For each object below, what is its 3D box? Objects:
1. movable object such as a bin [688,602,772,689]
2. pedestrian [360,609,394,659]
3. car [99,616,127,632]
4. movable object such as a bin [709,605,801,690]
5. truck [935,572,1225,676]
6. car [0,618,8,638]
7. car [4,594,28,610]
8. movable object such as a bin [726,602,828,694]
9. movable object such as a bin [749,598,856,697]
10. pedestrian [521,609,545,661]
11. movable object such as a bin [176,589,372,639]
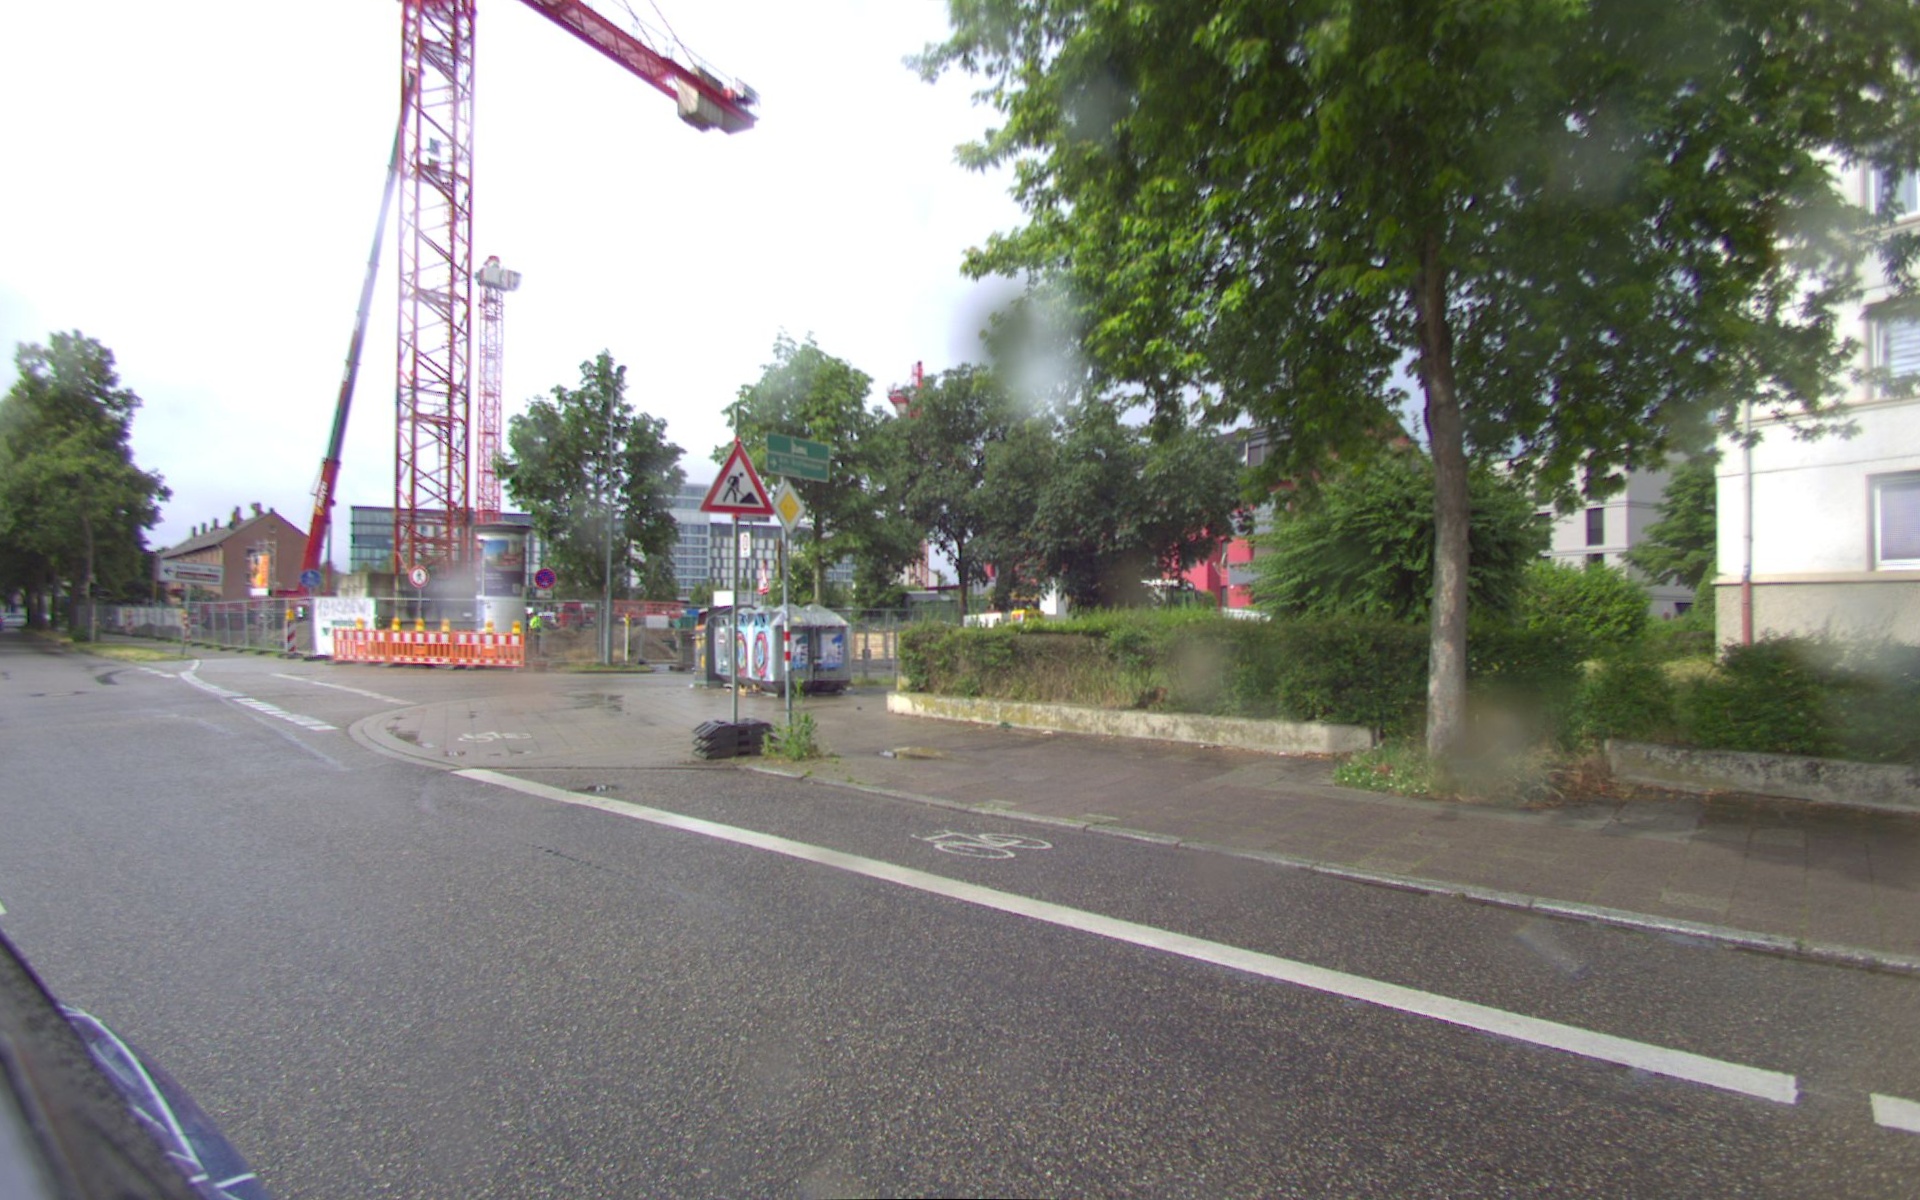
[{"bbox_3d":[-5.071,1.000,22.259,1.516,1.838,1.267,1,-3,-26],"label":"movable object such as a bin"},{"bbox_3d":[-19.459,1.139,33.807,0.676,1.642,0.722,0,0,7],"label":"pedestrian"},{"bbox_3d":[-88.399,2.473,105.626,4.000,1.541,1.671,0,1,43],"label":"car"},{"bbox_3d":[-4.286,0.978,21.037,1.516,1.669,1.532,1,-3,-26],"label":"movable object such as a bin"},{"bbox_3d":[4.295,0.920,35.348,9.675,3.208,3.804,2,-2,-29],"label":"truck"},{"bbox_3d":[-79.541,2.294,83.227,1.819,1.620,4.003,0,-1,-44],"label":"car"},{"bbox_3d":[-98.729,0.223,105.833,1.792,1.552,3.985,4,-4,-43],"label":"car"},{"bbox_3d":[-3.554,0.923,19.554,1.516,1.687,1.671,1,-3,-26],"label":"movable object such as a bin"},{"bbox_3d":[-2.834,0.846,18.124,1.516,1.675,1.463,1,-3,-26],"label":"movable object such as a bin"},{"bbox_3d":[-13.621,1.115,32.306,0.610,1.632,0.551,2,-3,-30],"label":"pedestrian"},{"bbox_3d":[-67.350,1.231,99.964,15.715,4.592,3.105,-1,1,-43],"label":"movable object such as a bin"}]
